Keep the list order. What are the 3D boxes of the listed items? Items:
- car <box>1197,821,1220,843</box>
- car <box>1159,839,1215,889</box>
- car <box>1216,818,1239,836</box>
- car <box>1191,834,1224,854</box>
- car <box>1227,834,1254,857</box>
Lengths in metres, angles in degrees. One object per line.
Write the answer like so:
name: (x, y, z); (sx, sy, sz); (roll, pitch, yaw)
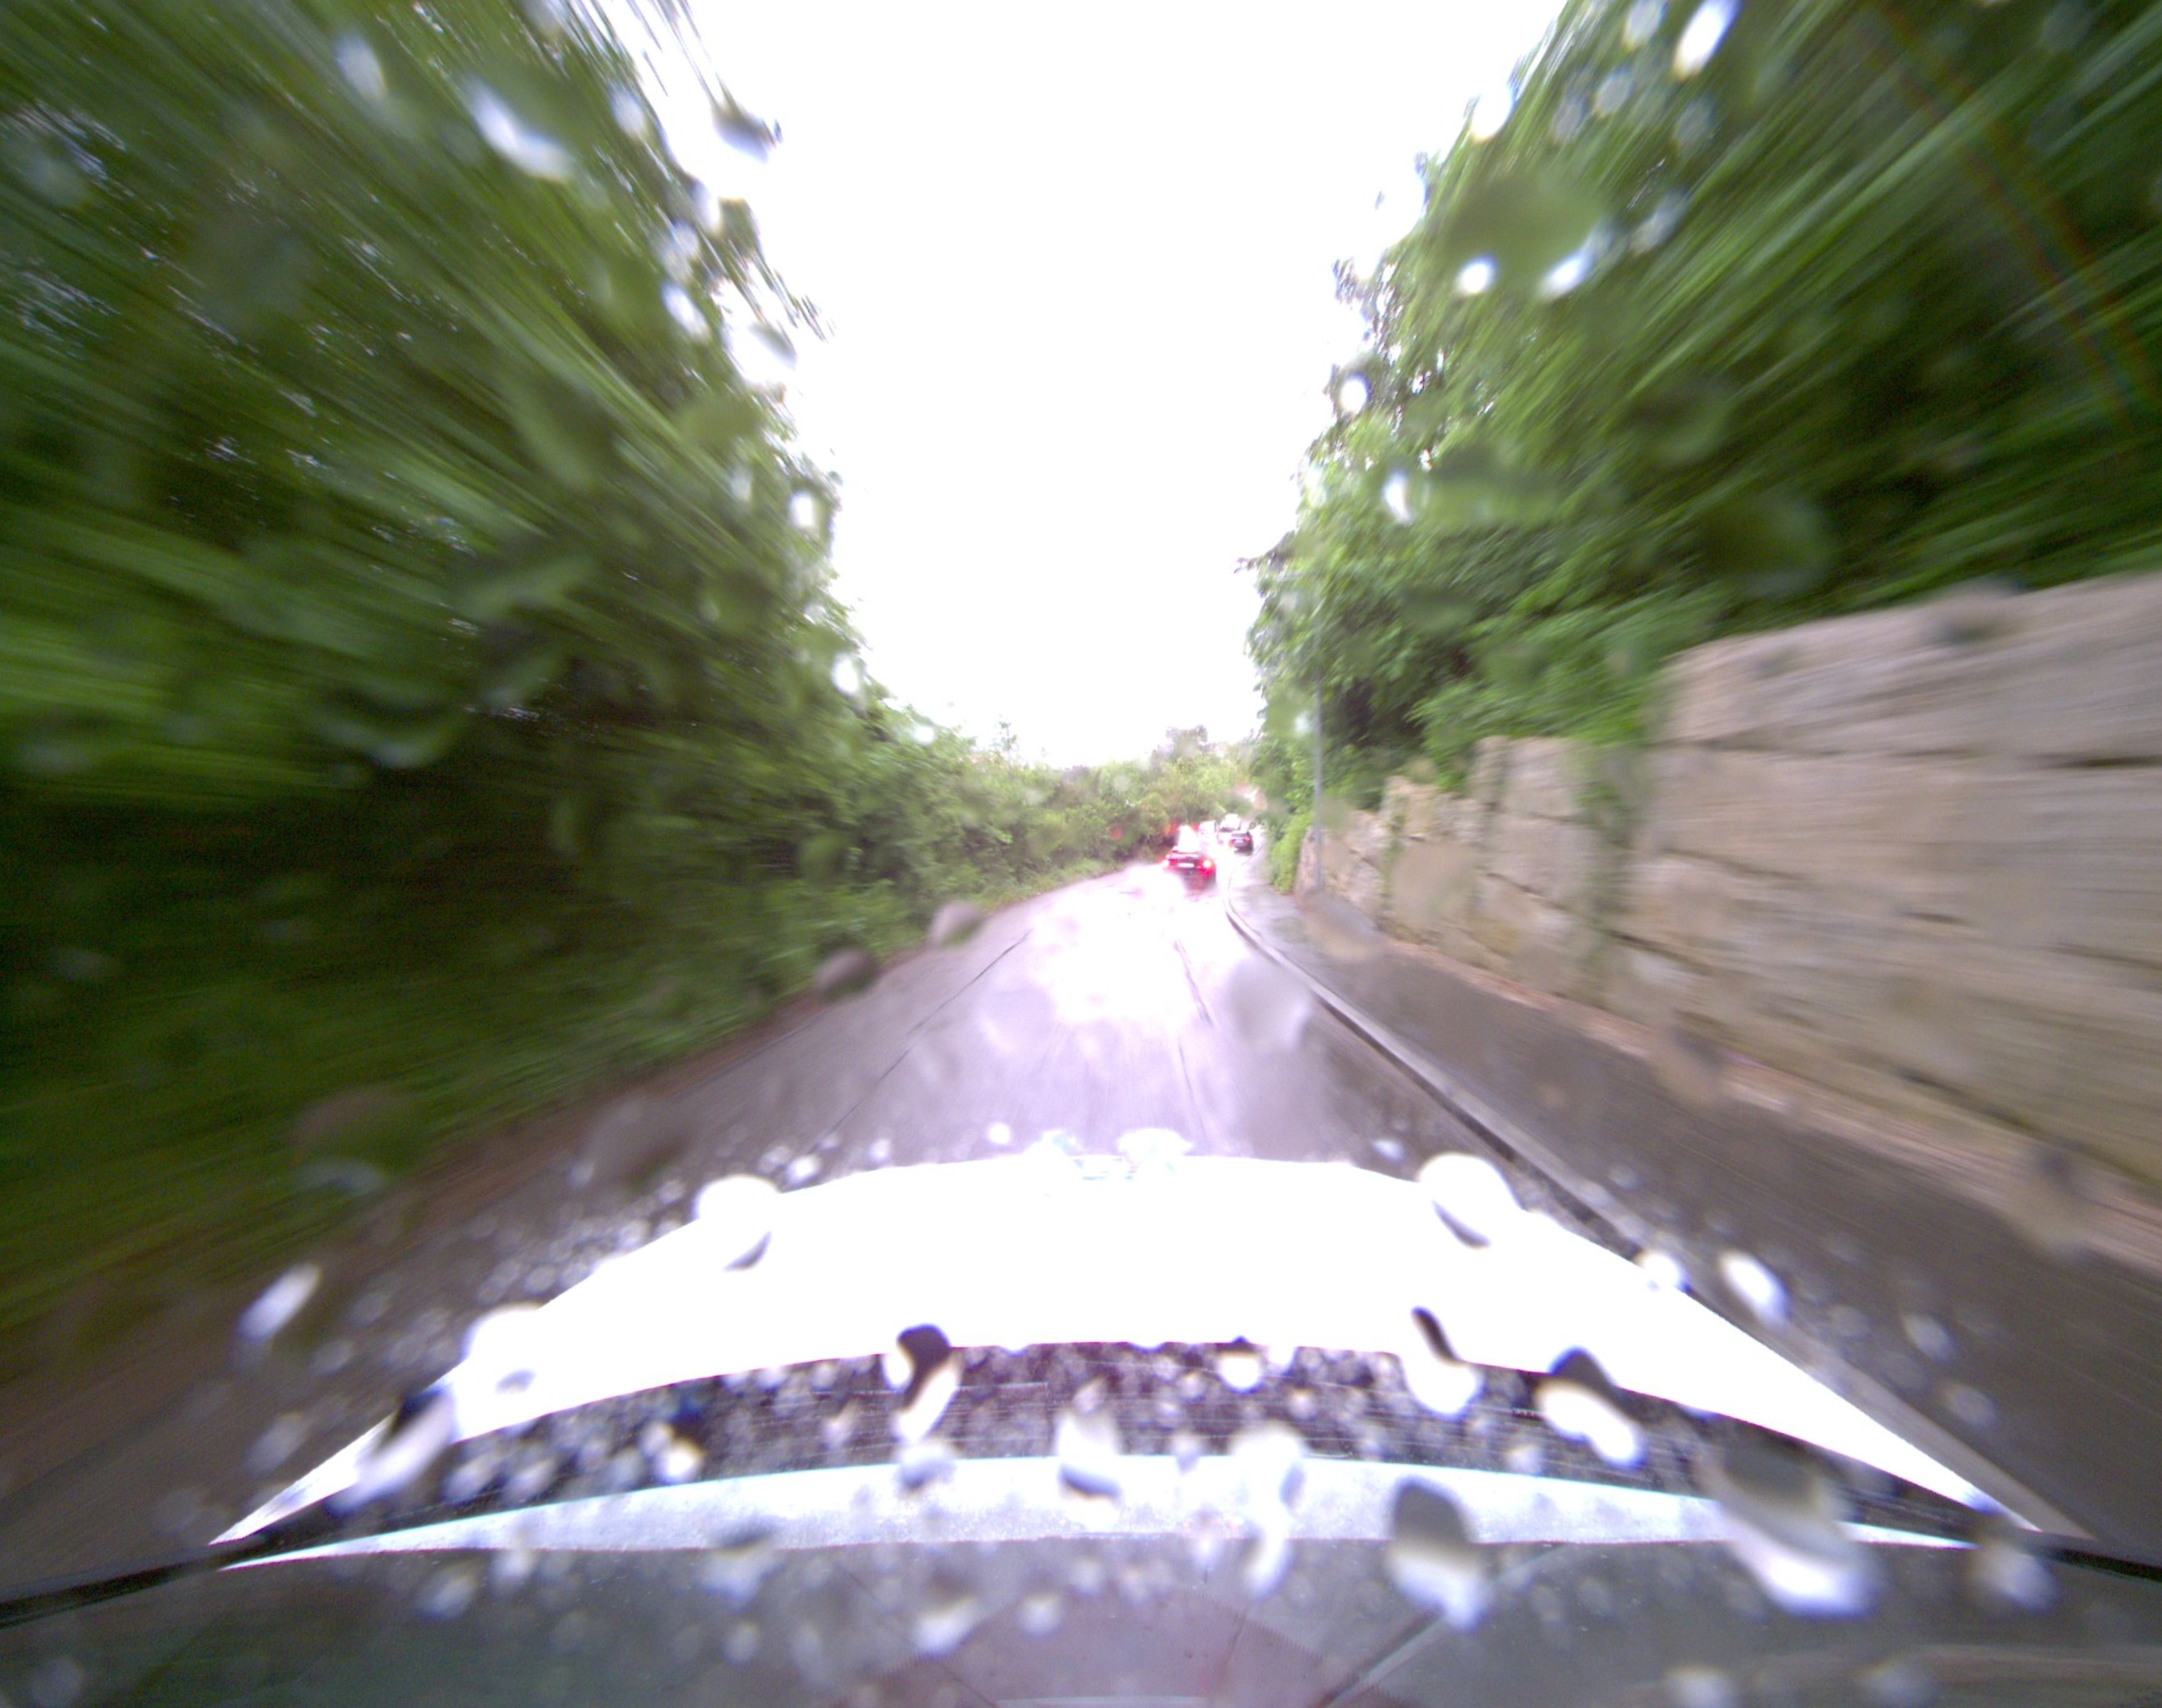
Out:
car: (12.267, -2.143, 78.175); (1.677, 1.782, 4.252); (-1, 4, 16)
car: (3.934, 0.319, 29.715); (1.688, 1.449, 4.015); (-1, 4, 12)
car: (15.781, -2.942, 87.646); (2.033, 1.600, 4.248); (1, 6, 14)
car: (10.095, -0.783, 64.689); (1.926, 1.522, 4.599); (0, 0, 17)
car: (12.706, -0.690, 64.643); (1.850, 1.743, 4.015); (0, 0, 14)
